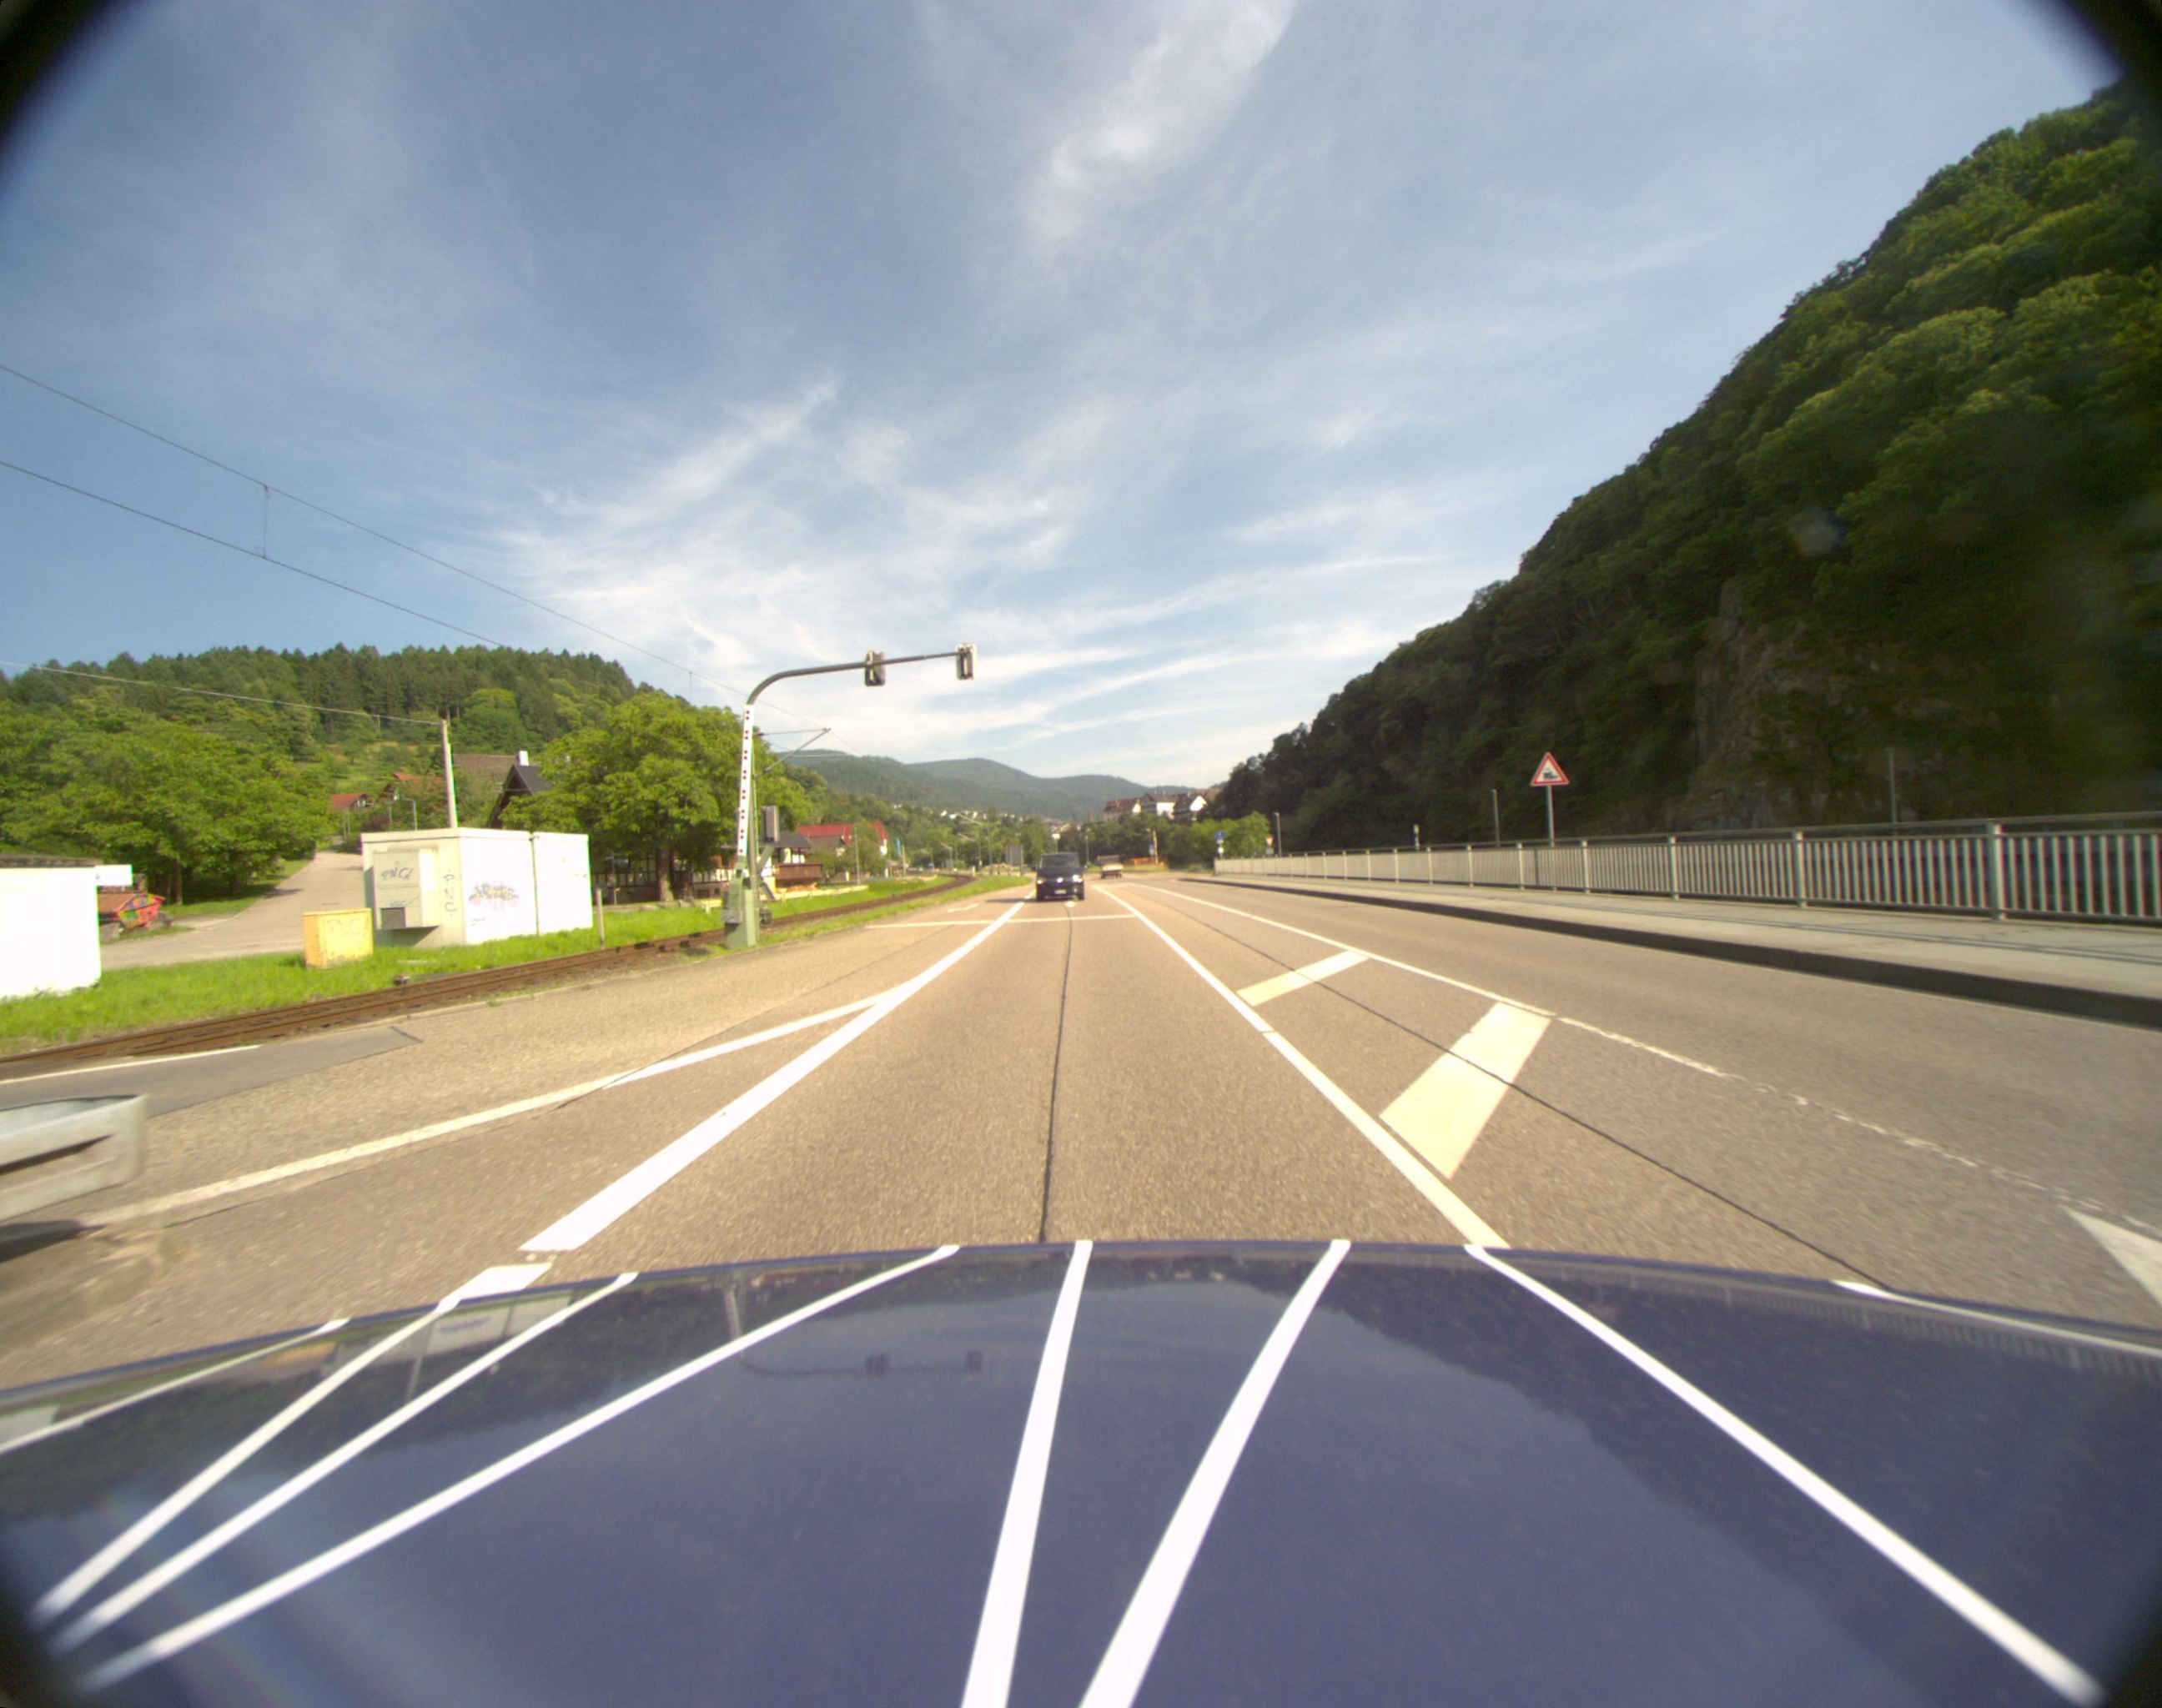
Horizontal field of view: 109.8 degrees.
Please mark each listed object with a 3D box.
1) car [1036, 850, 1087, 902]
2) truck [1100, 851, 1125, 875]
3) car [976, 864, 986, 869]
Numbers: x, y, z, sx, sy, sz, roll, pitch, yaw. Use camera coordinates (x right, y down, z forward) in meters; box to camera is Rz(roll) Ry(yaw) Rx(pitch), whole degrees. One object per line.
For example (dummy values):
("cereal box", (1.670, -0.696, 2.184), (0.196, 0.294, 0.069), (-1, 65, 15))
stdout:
("car", (-0.822, 0.860, 31.357), (1.865, 1.936, 4.638), (-2, -1, -2))
("truck", (3.435, 1.003, 83.282), (2.170, 2.373, 5.853), (-4, 0, -2))
("car", (-32.503, 4.081, 246.570), (2.002, 1.652, 3.993), (-4, 1, -21))
